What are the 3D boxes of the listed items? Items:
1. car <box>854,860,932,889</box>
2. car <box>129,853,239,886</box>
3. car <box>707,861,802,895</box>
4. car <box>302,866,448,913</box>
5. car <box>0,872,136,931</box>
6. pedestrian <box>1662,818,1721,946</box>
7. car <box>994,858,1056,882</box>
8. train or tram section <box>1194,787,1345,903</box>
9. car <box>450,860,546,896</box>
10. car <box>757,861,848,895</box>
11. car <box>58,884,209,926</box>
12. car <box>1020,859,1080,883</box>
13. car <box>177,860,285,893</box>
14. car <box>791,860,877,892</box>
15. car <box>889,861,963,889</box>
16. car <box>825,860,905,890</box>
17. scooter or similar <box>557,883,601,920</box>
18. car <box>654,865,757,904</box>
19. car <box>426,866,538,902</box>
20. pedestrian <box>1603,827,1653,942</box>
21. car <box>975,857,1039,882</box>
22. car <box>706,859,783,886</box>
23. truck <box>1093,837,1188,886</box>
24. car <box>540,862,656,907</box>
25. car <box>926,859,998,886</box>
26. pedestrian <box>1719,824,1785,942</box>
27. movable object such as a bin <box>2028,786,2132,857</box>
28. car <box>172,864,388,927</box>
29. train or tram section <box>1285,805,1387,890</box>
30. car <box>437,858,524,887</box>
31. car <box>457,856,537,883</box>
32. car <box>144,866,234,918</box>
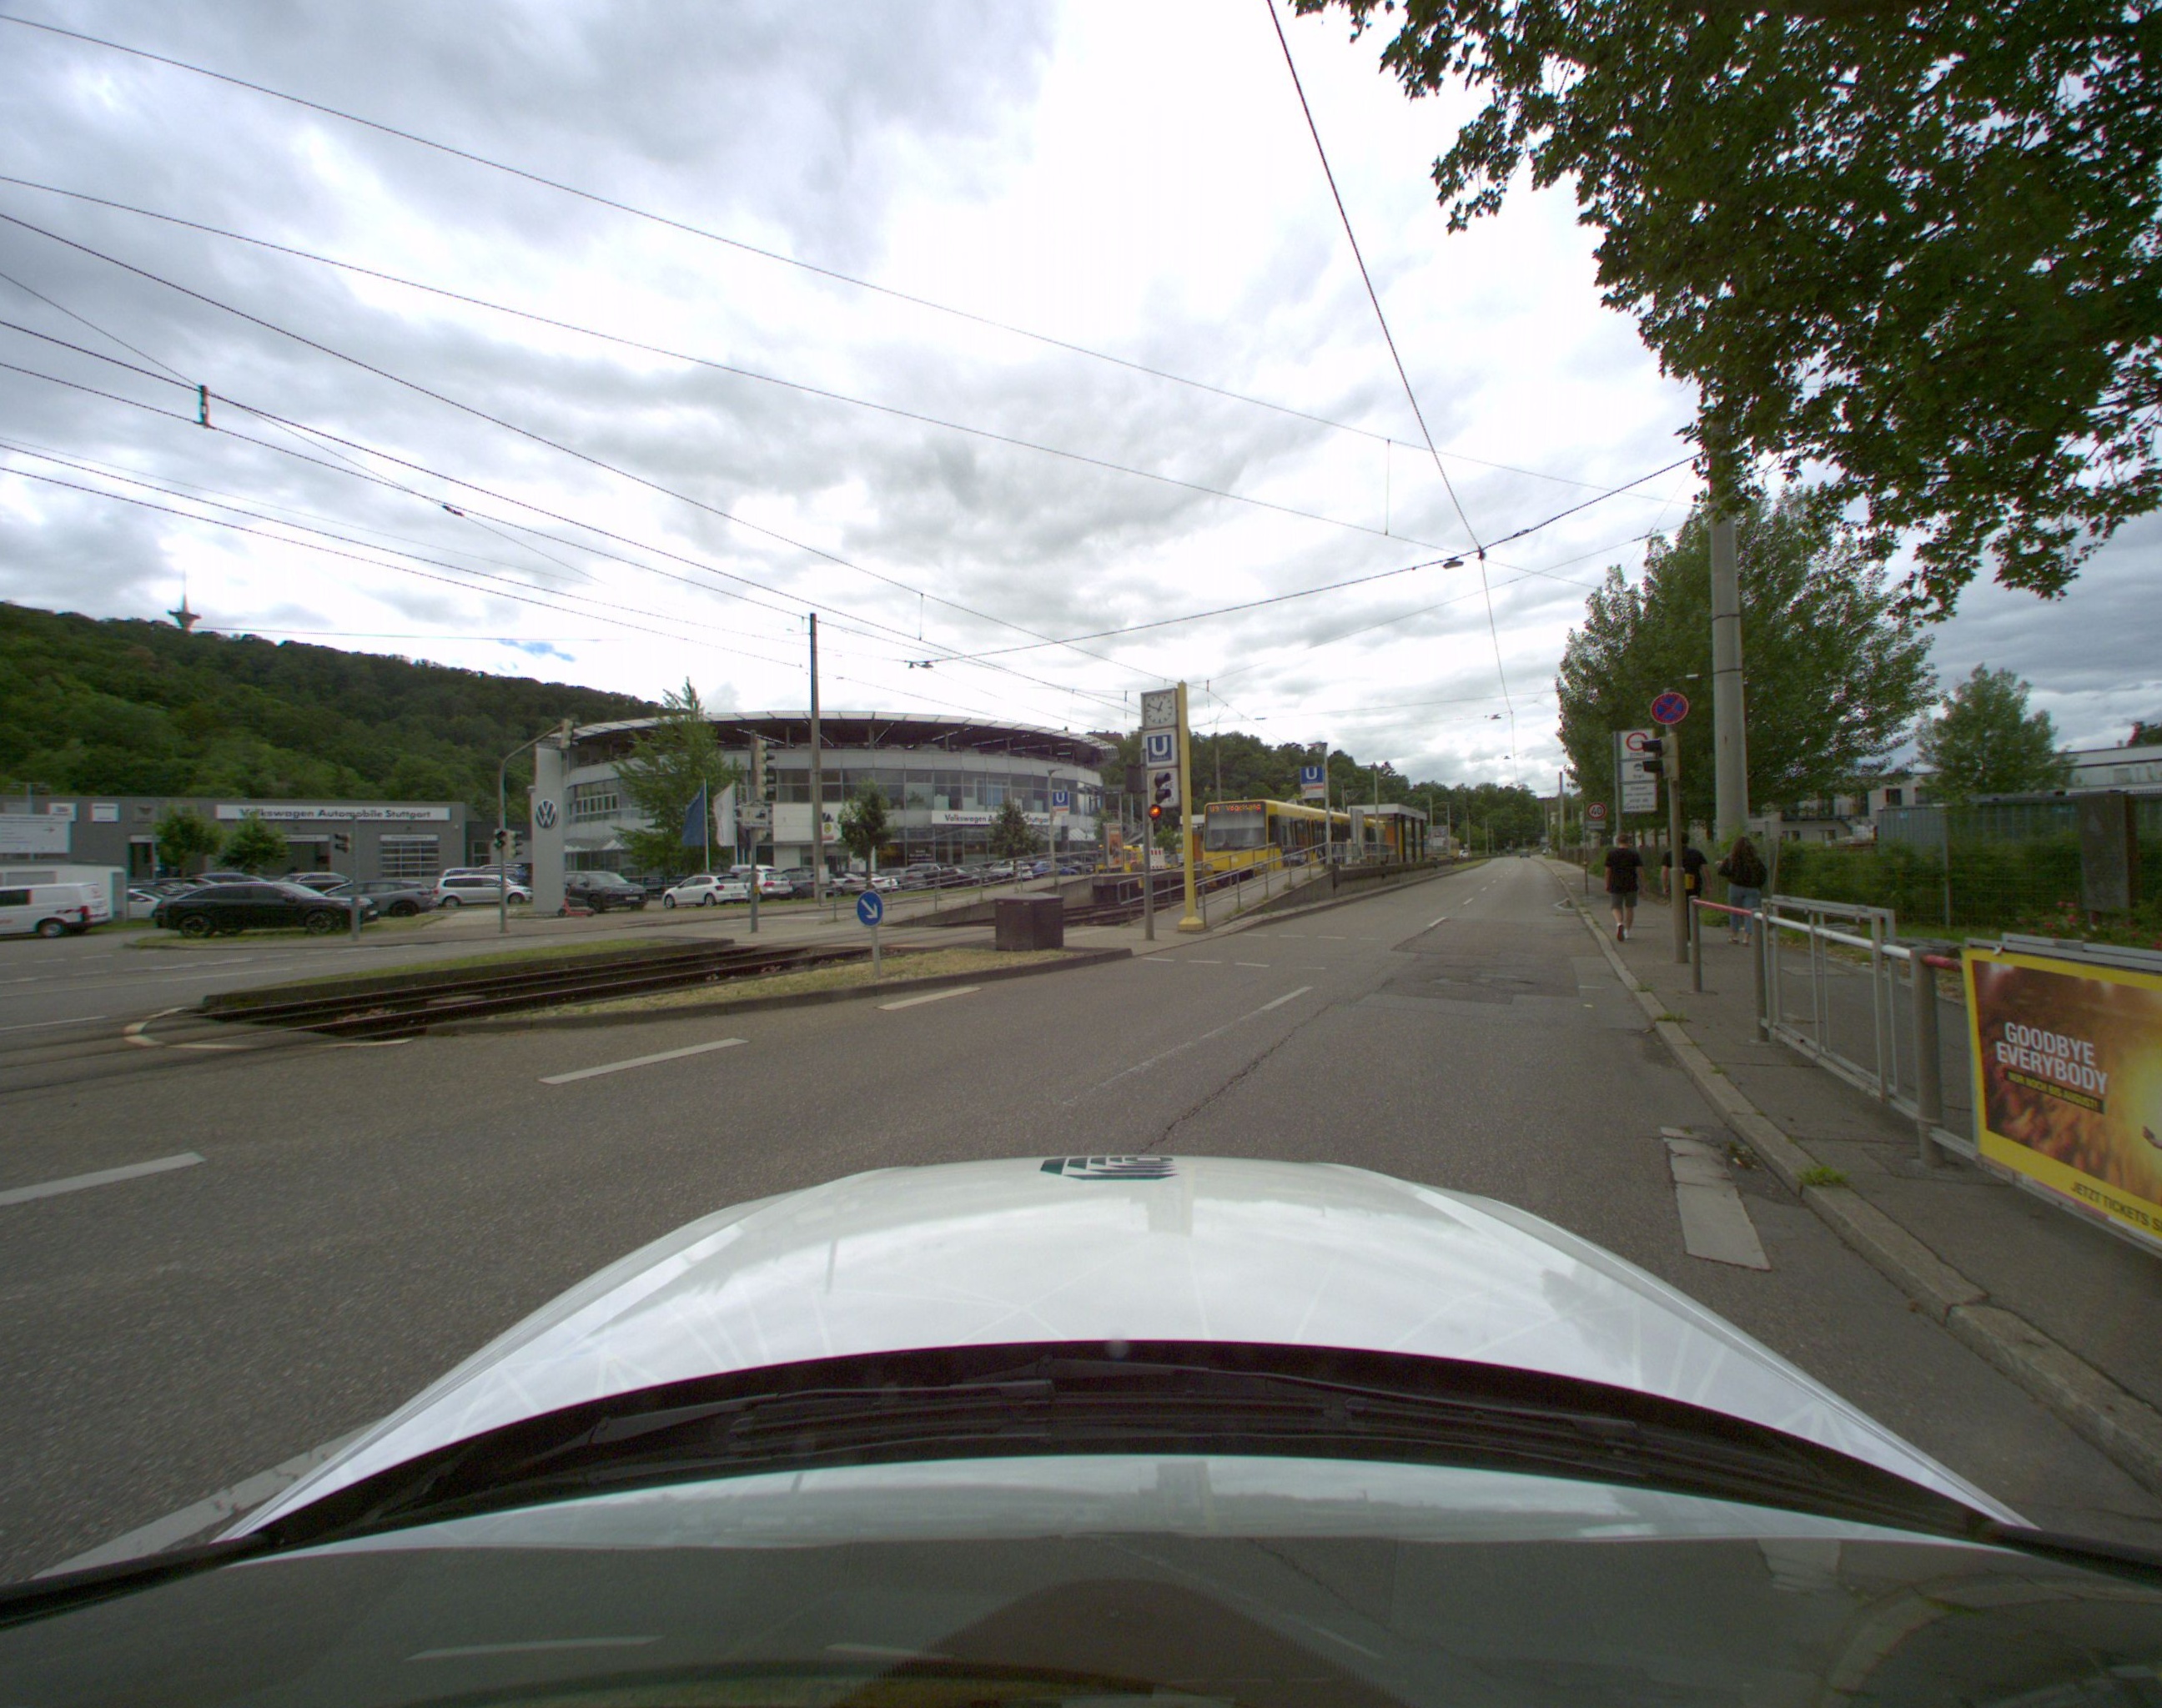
[{"bbox_3d":[-10.785,1.185,46.643,3.950,1.555,1.938,-1,-4,25],"label":"car"},{"bbox_3d":[-53.856,0.966,49.010,4.016,1.794,1.833,3,-5,-35],"label":"car"},{"bbox_3d":[-15.239,1.131,38.028,3.950,1.477,1.824,-1,-4,25],"label":"car"},{"bbox_3d":[-27.474,1.421,31.774,1.975,1.706,4.023,-3,-5,43],"label":"car"},{"bbox_3d":[-38.981,1.798,30.020,5.037,2.014,1.979,-2,-2,-33],"label":"car"},{"bbox_3d":[9.259,0.423,12.367,0.596,1.867,0.676,-2,-2,31],"label":"pedestrian"},{"bbox_3d":[-3.969,1.142,57.724,3.948,1.555,1.939,-2,-5,34],"label":"car"},{"bbox_3d":[8.210,-0.338,33.633,2.714,3.966,11.986,-1,0,29],"label":"train or tram section"},{"bbox_3d":[-35.001,1.484,48.966,4.531,1.998,1.977,4,-5,-38],"label":"car"},{"bbox_3d":[-13.707,1.223,40.115,3.950,1.555,1.938,-1,-4,25],"label":"car"},{"bbox_3d":[-42.877,2.349,37.016,4.016,1.794,1.833,3,-5,-35],"label":"car"},{"bbox_3d":[-2.280,1.266,59.270,3.948,1.555,1.939,-2,-5,34],"label":"car"},{"bbox_3d":[-49.711,1.360,47.751,4.016,1.794,1.833,3,-5,-35],"label":"car"},{"bbox_3d":[-12.890,1.155,42.451,3.950,1.555,1.938,-1,-4,25],"label":"car"},{"bbox_3d":[-9.267,1.243,48.797,3.950,1.554,1.938,-1,0,25],"label":"car"},{"bbox_3d":[-11.842,1.164,44.636,3.950,1.555,1.738,-1,-4,25],"label":"car"},{"bbox_3d":[-17.977,1.711,29.190,1.210,1.288,0.568,4,-5,-42],"label":"scooter or similar"},{"bbox_3d":[-16.617,1.374,36.071,3.950,1.640,2.011,-1,-4,25],"label":"car"},{"bbox_3d":[-31.376,1.634,42.733,4.531,1.729,1.977,4,-5,-39],"label":"car"},{"bbox_3d":[9.098,0.515,13.561,0.596,1.868,0.676,-2,-5,31],"label":"pedestrian"},{"bbox_3d":[-5.010,1.071,55.276,3.948,1.554,1.940,-2,0,34],"label":"car"},{"bbox_3d":[-20.725,1.177,50.243,3.956,1.555,1.935,0,-4,17],"label":"car"},{"bbox_3d":[4.286,0.539,56.326,2.668,3.078,9.063,-2,-1,31],"label":"truck"},{"bbox_3d":[-19.010,1.187,32.060,3.950,1.640,2.011,-1,-2,25],"label":"car"},{"bbox_3d":[-7.374,1.158,50.540,3.950,1.554,1.939,-1,0,25],"label":"car"},{"bbox_3d":[9.922,0.440,12.067,0.596,1.690,0.676,-2,-5,31],"label":"pedestrian"},{"bbox_3d":[34.718,-1.047,28.271,4.313,2.014,1.978,4,-5,-36],"label":"movable object such as a bin"},{"bbox_3d":[-23.376,1.231,24.001,4.005,1.640,1.984,2,0,-24],"label":"car"},{"bbox_3d":[14.093,-0.337,44.116,2.714,3.966,11.986,-1,0,29],"label":"train or tram section"},{"bbox_3d":[-40.230,1.294,54.613,4.531,1.729,1.977,4,-5,-39],"label":"car"},{"bbox_3d":[-42.023,1.172,58.667,4.531,1.729,1.977,4,-5,-39],"label":"car"},{"bbox_3d":[-37.996,1.631,34.813,2.011,2.014,4.957,-1,-2,-41],"label":"car"}]
